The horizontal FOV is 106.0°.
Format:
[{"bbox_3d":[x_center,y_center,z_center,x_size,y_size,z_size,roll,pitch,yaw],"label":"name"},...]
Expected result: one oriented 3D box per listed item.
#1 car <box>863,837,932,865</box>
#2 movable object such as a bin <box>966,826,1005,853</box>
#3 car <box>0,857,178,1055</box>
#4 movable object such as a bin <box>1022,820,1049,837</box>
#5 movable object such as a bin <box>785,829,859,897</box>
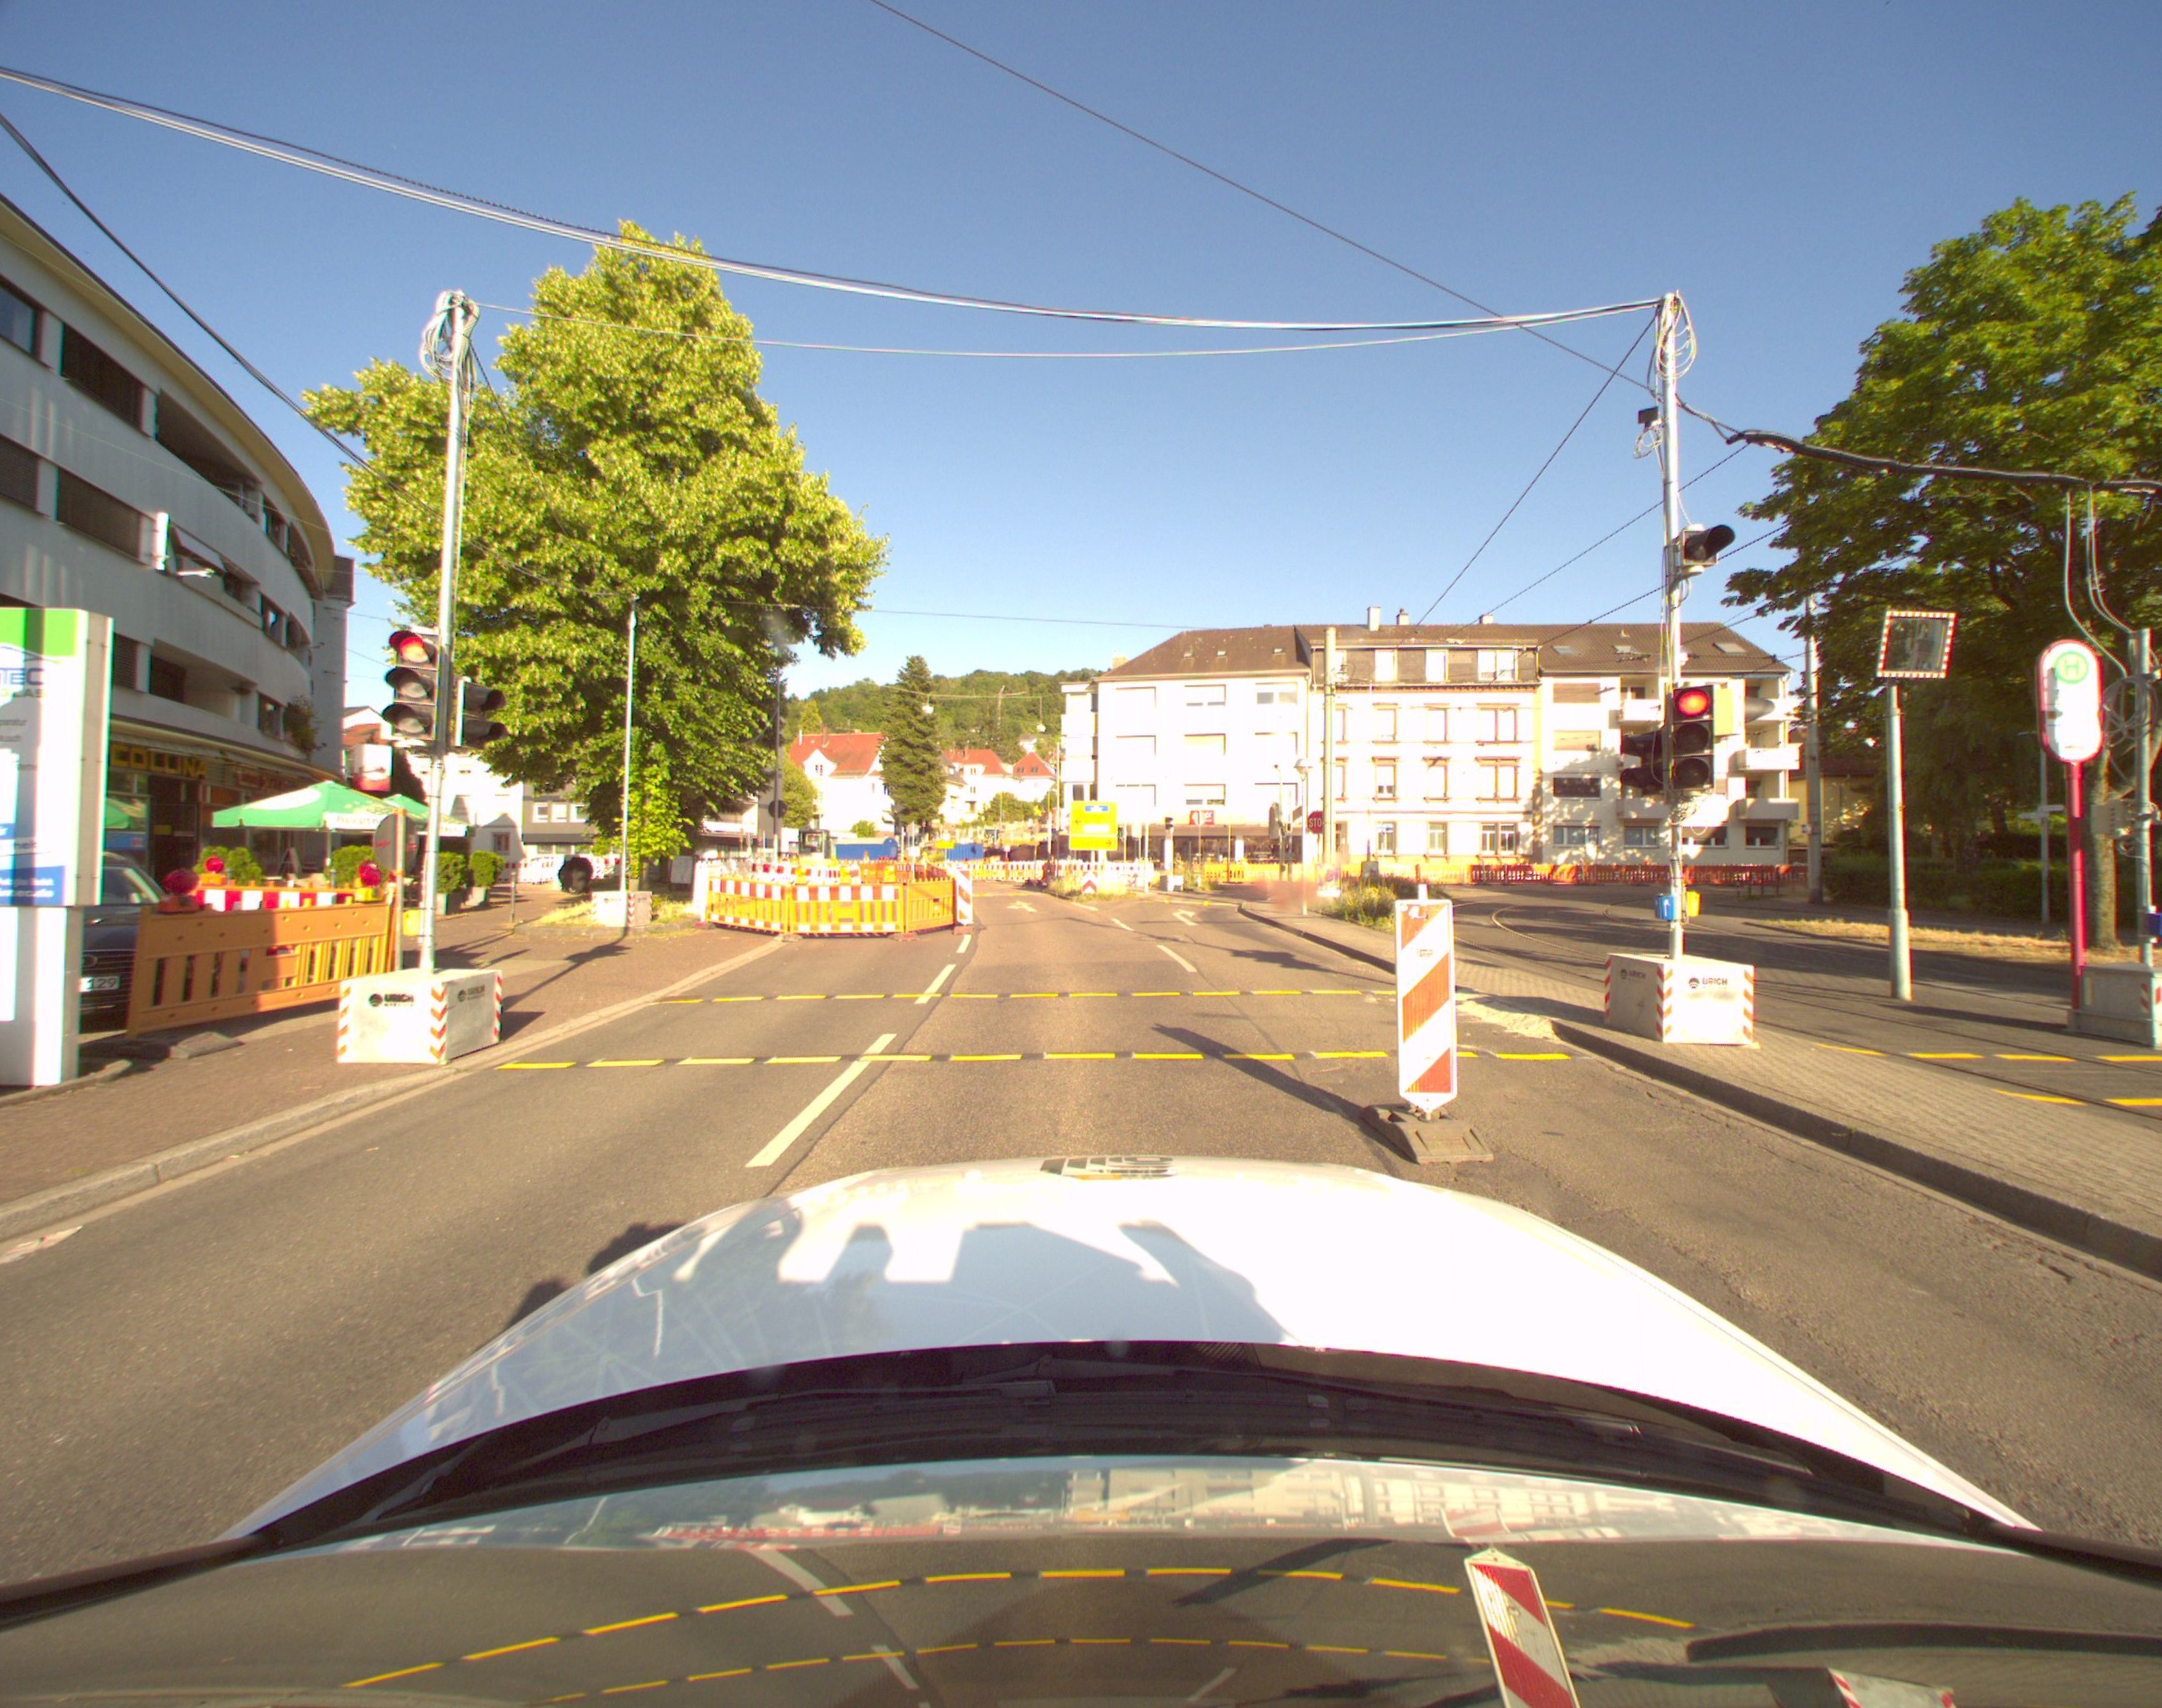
[{"bbox_3d":[-14.904,-0.227,66.687,2.562,2.121,6.181,-1,-1,20],"label":"car"},{"bbox_3d":[-9.244,-1.346,79.388,1.932,2.494,4.574,-1,-1,20],"label":"movable object such as a bin"},{"bbox_3d":[-9.322,0.779,7.304,3.835,1.438,1.606,-1,0,42],"label":"car"},{"bbox_3d":[-6.422,-3.591,115.288,2.549,2.122,5.801,-1,-1,11],"label":"movable object such as a bin"},{"bbox_3d":[-9.418,0.300,29.868,1.643,2.324,3.916,0,0,-3],"label":"movable object such as a bin"}]
